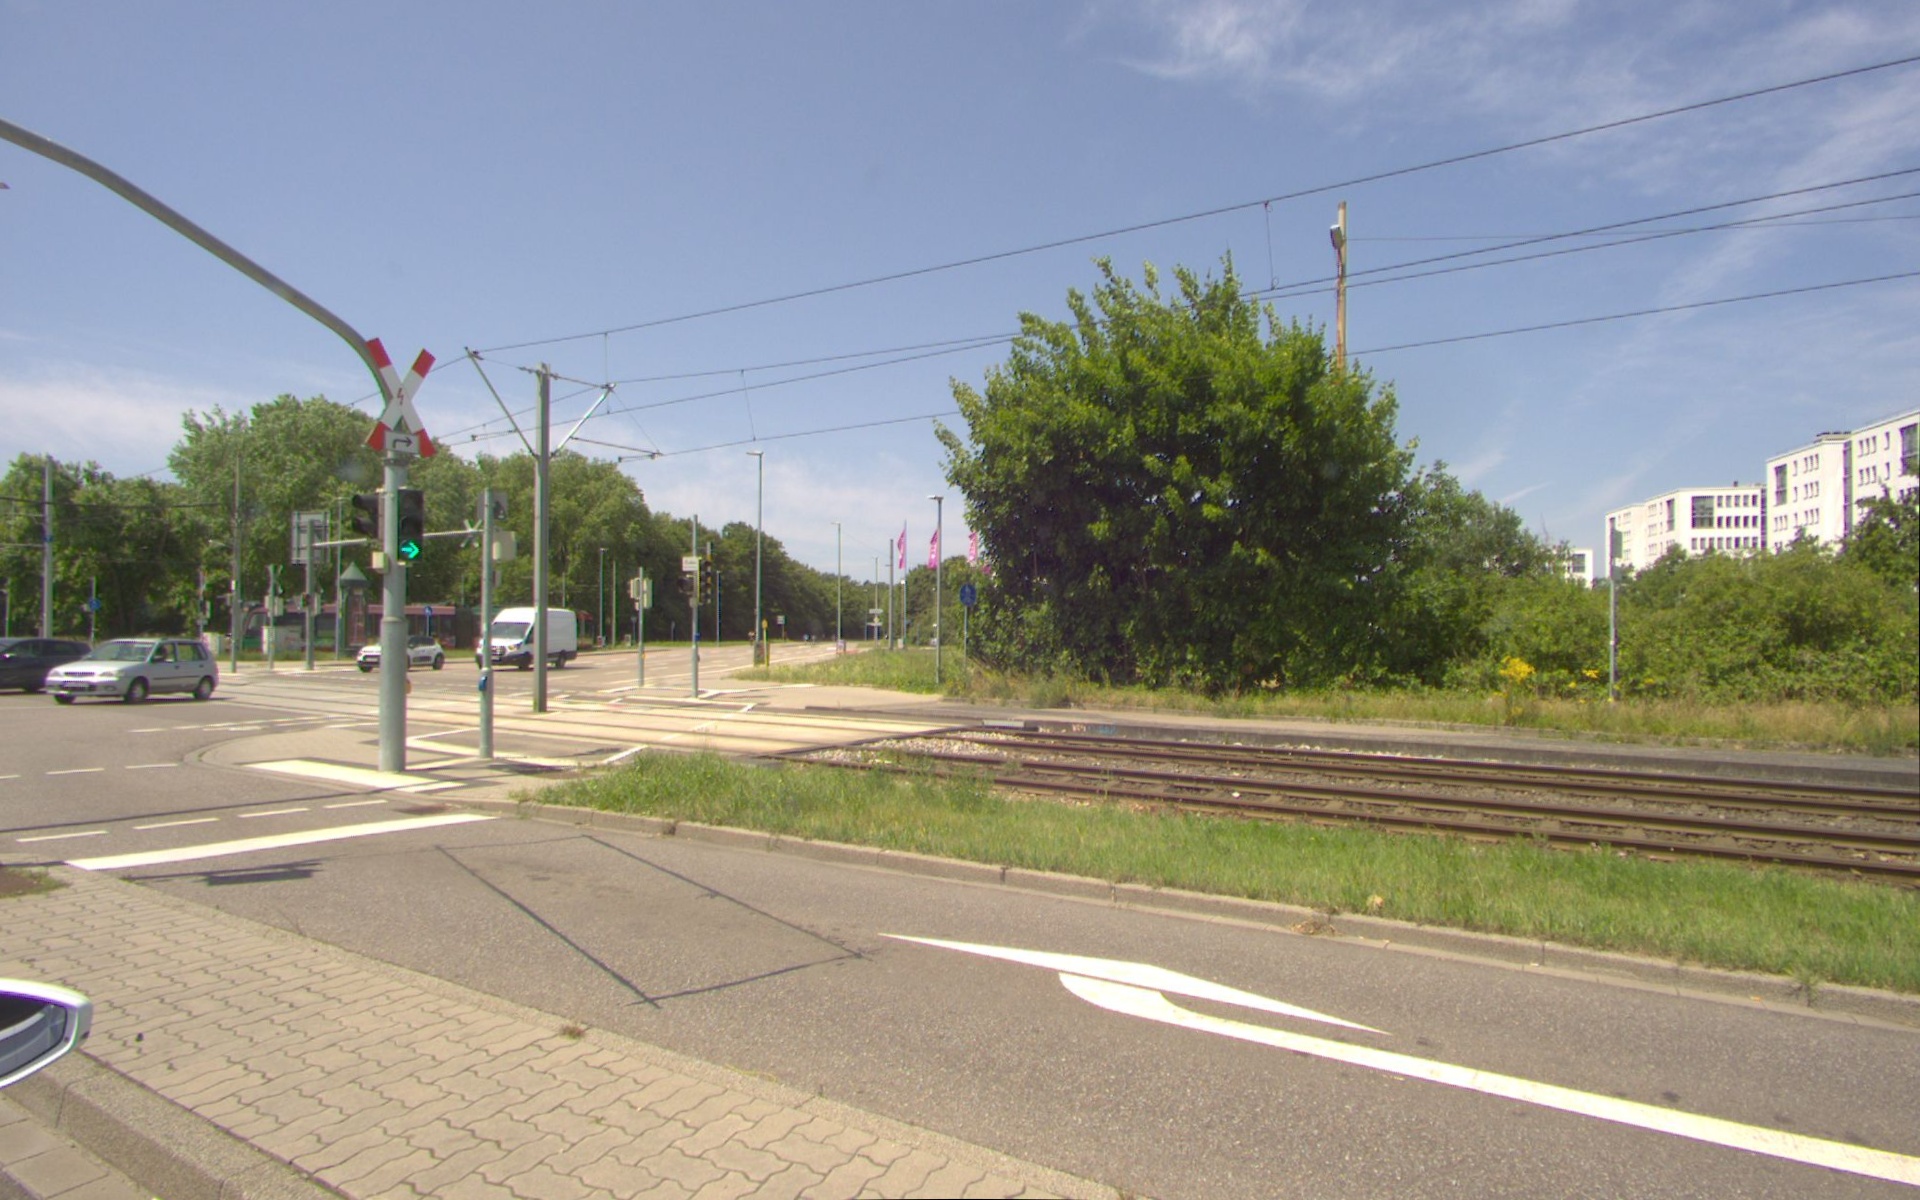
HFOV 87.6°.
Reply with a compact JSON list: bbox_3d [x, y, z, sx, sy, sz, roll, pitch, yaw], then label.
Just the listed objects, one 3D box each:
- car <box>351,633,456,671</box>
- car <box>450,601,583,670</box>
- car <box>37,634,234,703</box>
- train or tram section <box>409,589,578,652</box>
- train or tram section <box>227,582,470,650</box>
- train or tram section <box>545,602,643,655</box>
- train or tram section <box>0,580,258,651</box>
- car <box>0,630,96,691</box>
[{"bbox_3d":[-23.067,2.126,41.722,1.608,1.481,4.495,0,-2,4],"label":"car"},{"bbox_3d":[-19.716,1.572,45.015,2.664,2.838,7.287,0,-2,0],"label":"car"},{"bbox_3d":[-19.228,1.554,23.584,1.608,1.481,3.807,0,-2,-3],"label":"car"},{"bbox_3d":[-34.190,1.734,74.533,2.871,3.965,14.038,-2,-4,16],"label":"train or tram section"},{"bbox_3d":[-39.358,1.226,65.295,2.892,3.857,13.356,-4,-5,40],"label":"train or tram section"},{"bbox_3d":[-31.774,2.683,87.744,2.867,3.965,13.982,-2,-4,3],"label":"train or tram section"},{"bbox_3d":[-49.126,0.933,58.503,12.858,3.857,2.918,0,-4,-22],"label":"train or tram section"},{"bbox_3d":[-24.197,1.507,25.317,1.608,1.481,3.510,0,-2,0],"label":"car"}]
